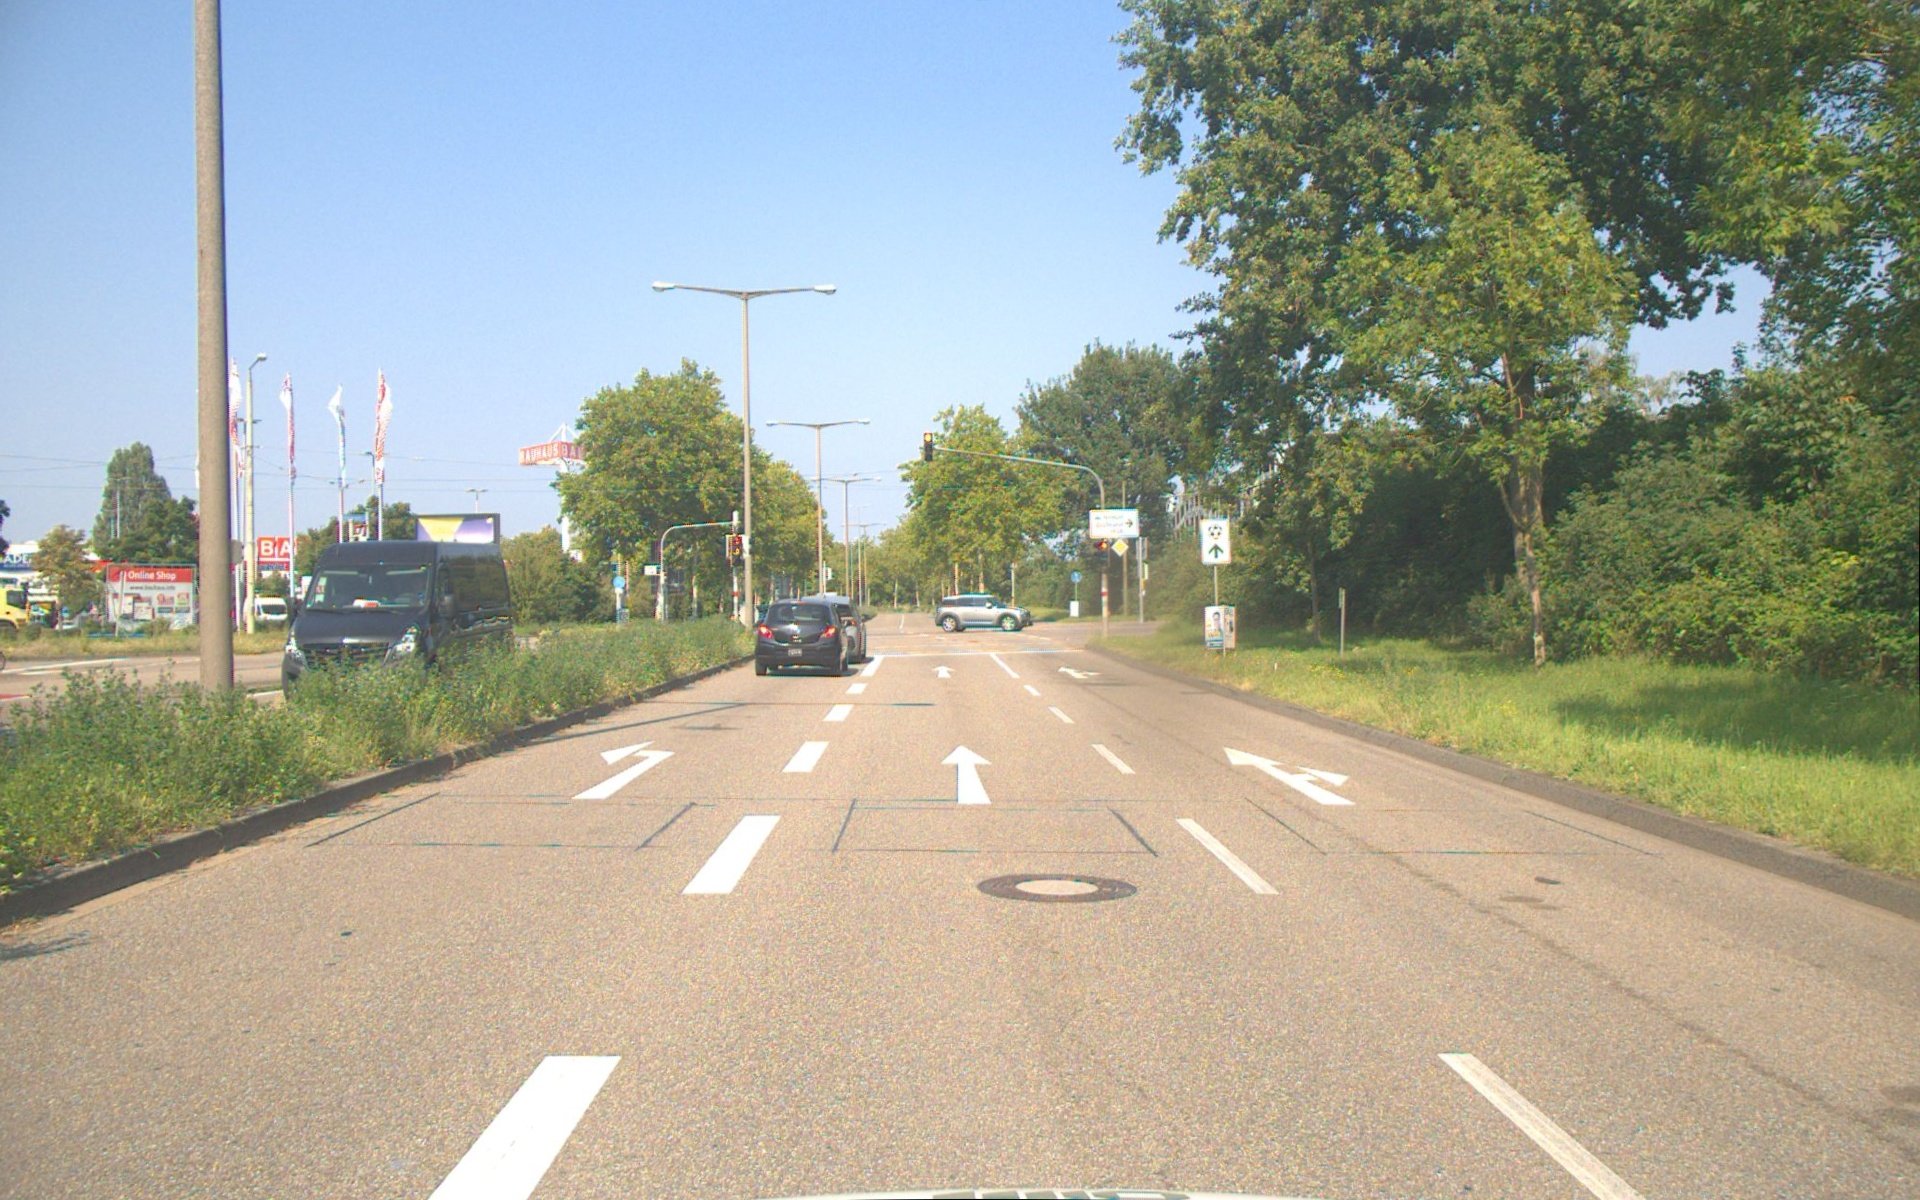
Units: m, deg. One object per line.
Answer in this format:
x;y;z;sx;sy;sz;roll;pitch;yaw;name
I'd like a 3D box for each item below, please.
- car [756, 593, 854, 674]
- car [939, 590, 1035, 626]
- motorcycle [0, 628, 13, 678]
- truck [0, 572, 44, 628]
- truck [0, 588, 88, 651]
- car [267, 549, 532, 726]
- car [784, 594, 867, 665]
-3.045;0.631;33.149;1.658;1.512;3.999;0;0;-1;car
1.179;0.323;71.412;3.882;1.512;1.626;0;0;16;car
-23.326;1.255;38.610;2.054;1.156;0.668;0;-1;-37;motorcycle
-54.887;0.083;89.535;8.920;3.009;3.467;-2;0;-38;truck
-36.981;0.741;63.438;5.862;2.370;2.104;0;0;-4;truck
-8.356;0.509;25.408;2.069;2.373;6.280;0;0;-2;car
-3.071;0.649;38.486;1.658;1.512;3.999;-2;0;-1;car
